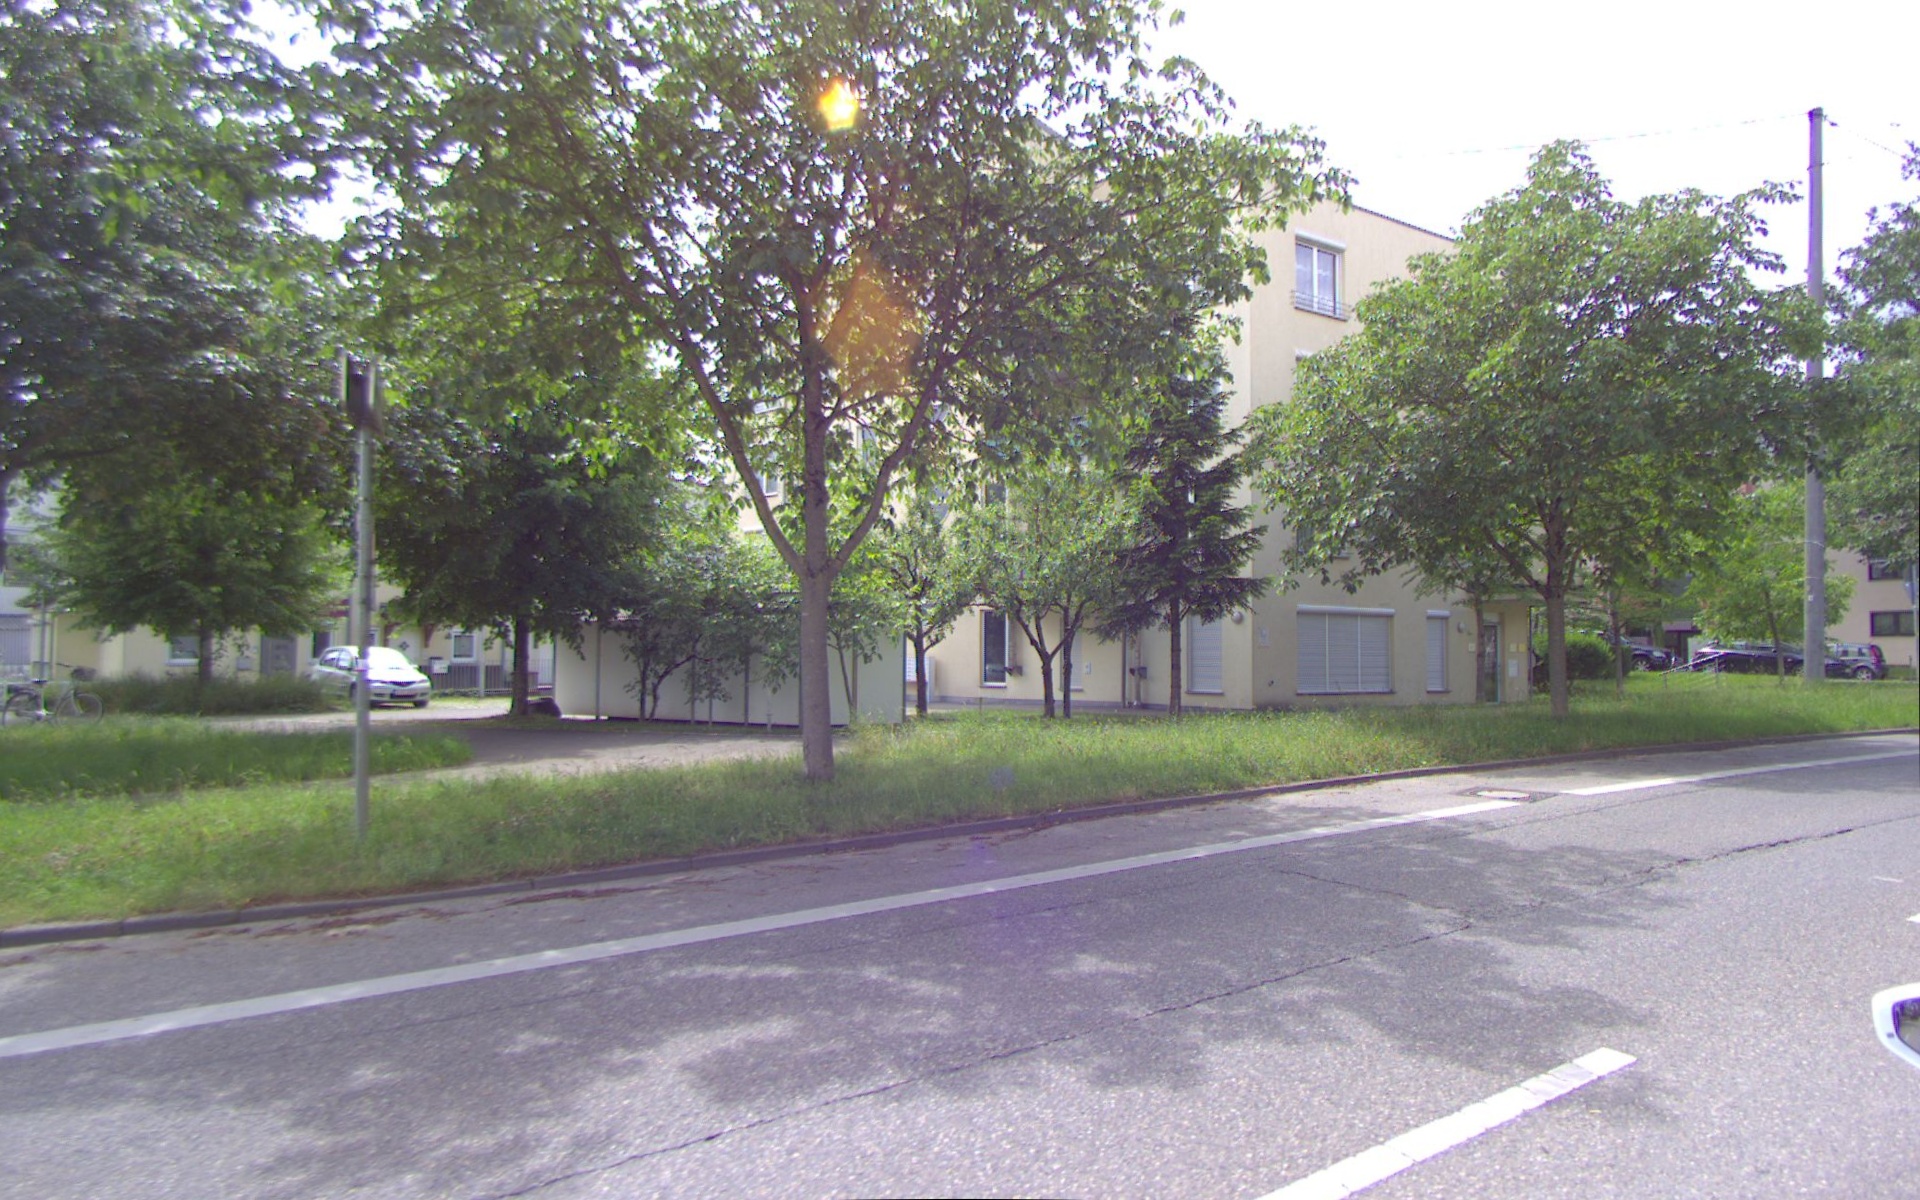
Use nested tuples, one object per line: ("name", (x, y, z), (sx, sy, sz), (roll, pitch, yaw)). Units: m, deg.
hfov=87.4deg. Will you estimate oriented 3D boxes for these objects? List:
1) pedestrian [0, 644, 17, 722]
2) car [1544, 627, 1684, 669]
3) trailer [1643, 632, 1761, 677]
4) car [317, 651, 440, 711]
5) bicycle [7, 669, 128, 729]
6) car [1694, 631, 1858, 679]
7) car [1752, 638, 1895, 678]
("pedestrian", (-20.398, 1.762, 20.982), (0.805, 1.616, 0.729), (-4, 1, -33))
("car", (25.346, 1.859, 39.078), (1.880, 1.543, 4.155), (1, -3, -31))
("trailer", (32.647, 2.374, 44.298), (1.614, 1.821, 3.884), (6, -4, -33))
("car", (-14.673, 2.028, 25.301), (3.364, 1.415, 1.823), (-5, -5, 43))
("bicycle", (-14.617, 1.598, 16.442), (2.181, 0.871, 0.464), (0, -2, 20))
("car", (28.090, 1.868, 34.695), (1.775, 1.417, 4.057), (6, -4, -31))
("car", (34.797, 2.324, 40.595), (1.775, 1.417, 4.057), (6, -4, -31))
